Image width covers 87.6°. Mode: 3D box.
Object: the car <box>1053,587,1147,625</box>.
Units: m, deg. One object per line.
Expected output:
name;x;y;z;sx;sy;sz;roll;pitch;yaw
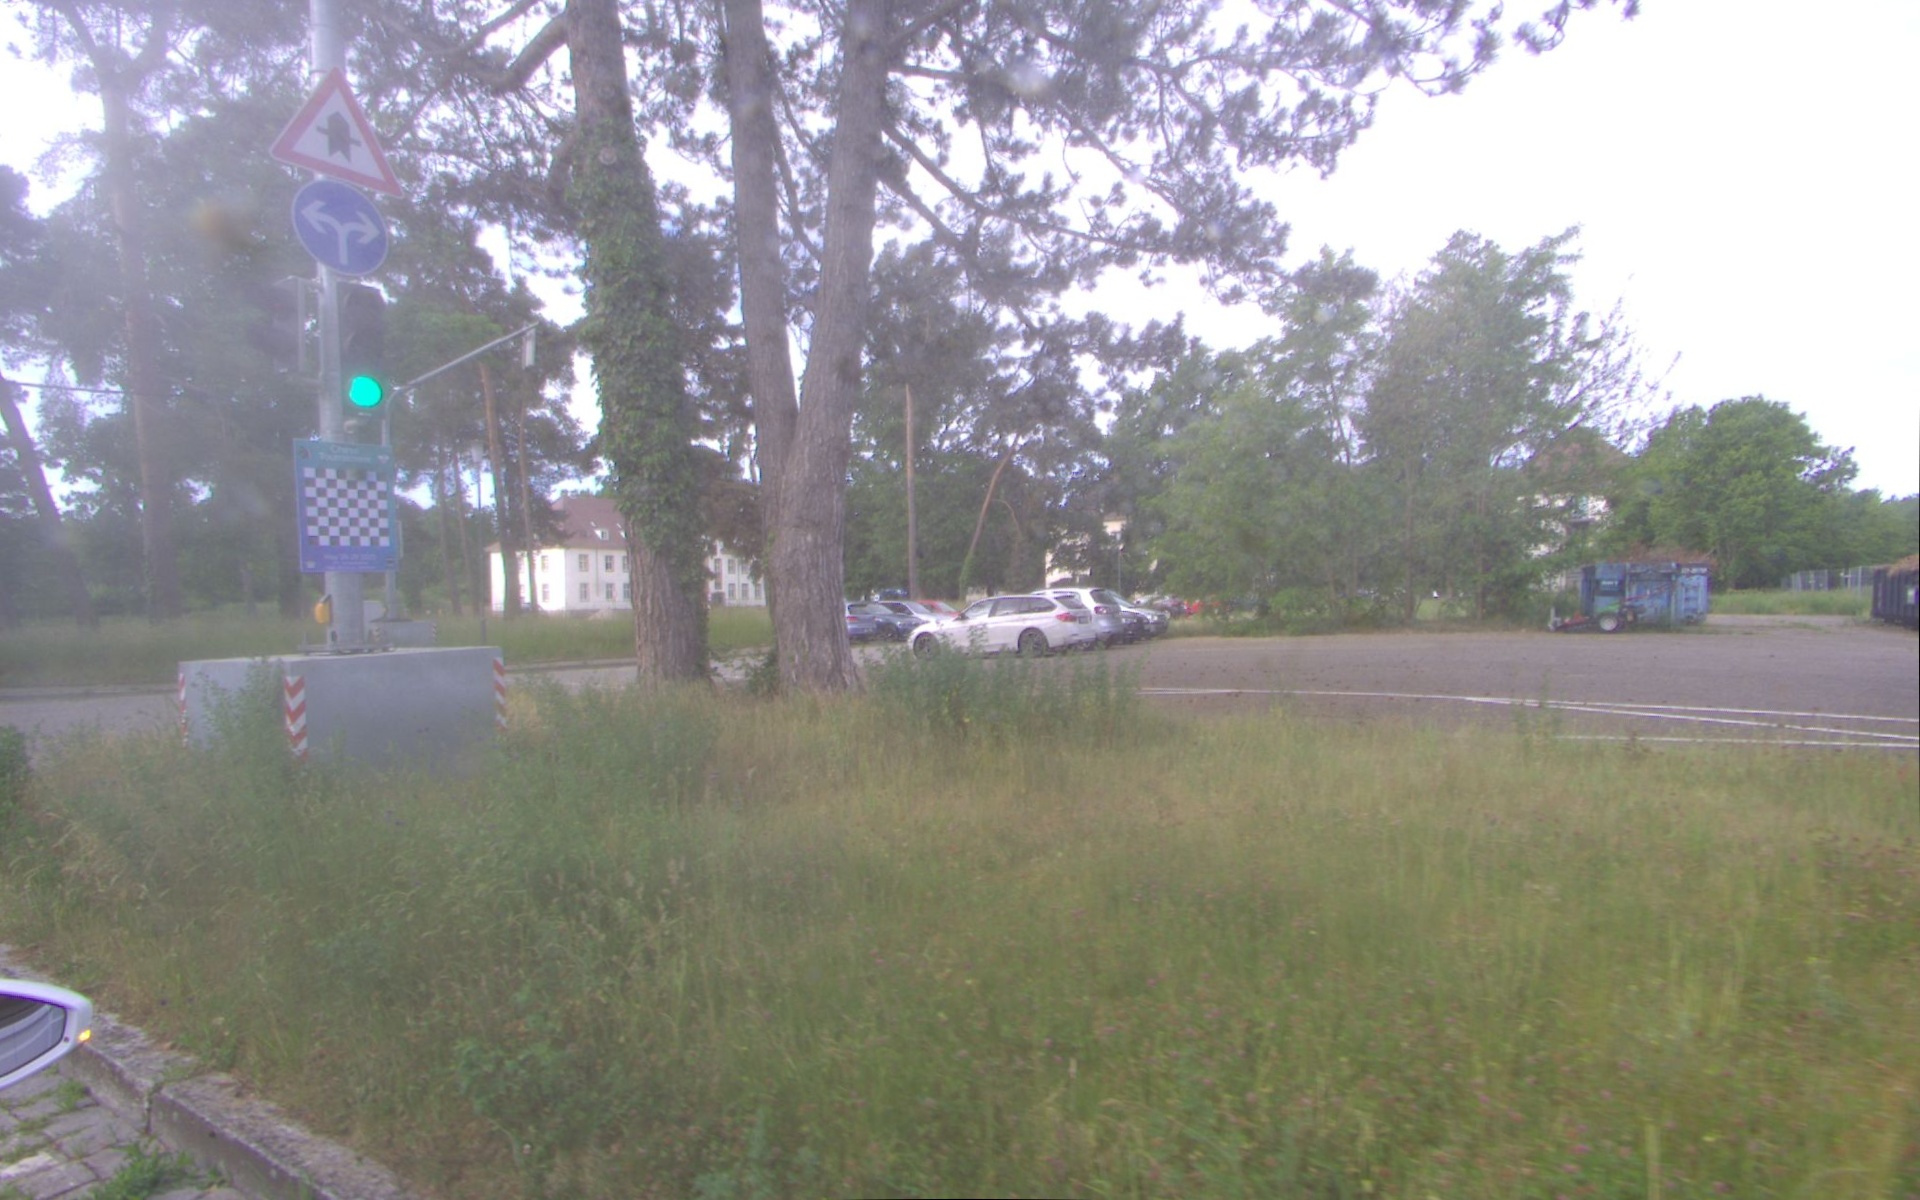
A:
car;7.766;0.333;55.632;4.724;2.053;2.131;0;0;34

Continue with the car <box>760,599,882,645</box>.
car;-4.942;0.756;35.494;4.184;1.529;1.730;0;0;33

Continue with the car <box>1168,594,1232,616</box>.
car;17.217;0.381;71.926;4.183;1.541;1.730;0;0;32

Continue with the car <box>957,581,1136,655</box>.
car;2.204;0.476;25.729;4.181;1.626;1.779;-4;-1;29

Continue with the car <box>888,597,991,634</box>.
car;-0.907;0.644;42.117;4.189;1.487;1.727;0;0;38

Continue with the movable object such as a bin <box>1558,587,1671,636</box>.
movable object such as a bin;16.119;0.299;24.727;2.176;1.149;0.960;-1;-1;23

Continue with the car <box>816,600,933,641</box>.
car;-3.222;0.744;37.517;4.184;1.487;1.730;0;0;33

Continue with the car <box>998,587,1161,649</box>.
car;3.318;0.517;28.132;4.186;1.504;1.696;-4;-1;33

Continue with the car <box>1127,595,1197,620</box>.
car;13.223;0.489;65.679;4.183;1.541;1.730;0;0;32

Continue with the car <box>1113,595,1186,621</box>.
car;11.945;0.505;63.181;4.183;1.541;1.730;0;0;32

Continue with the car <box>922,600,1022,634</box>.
car;0.490;0.739;43.985;4.189;1.409;1.727;0;0;38

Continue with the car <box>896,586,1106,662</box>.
car;0.932;0.592;23.412;4.541;1.505;1.846;-4;-2;29

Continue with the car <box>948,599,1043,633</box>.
car;1.604;0.726;46.380;4.189;1.492;1.727;0;0;38

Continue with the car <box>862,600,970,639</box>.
car;-1.780;0.745;39.868;4.189;1.487;1.727;0;0;38

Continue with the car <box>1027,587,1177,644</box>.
car;4.334;0.499;30.727;4.186;1.504;1.696;-4;-1;33
